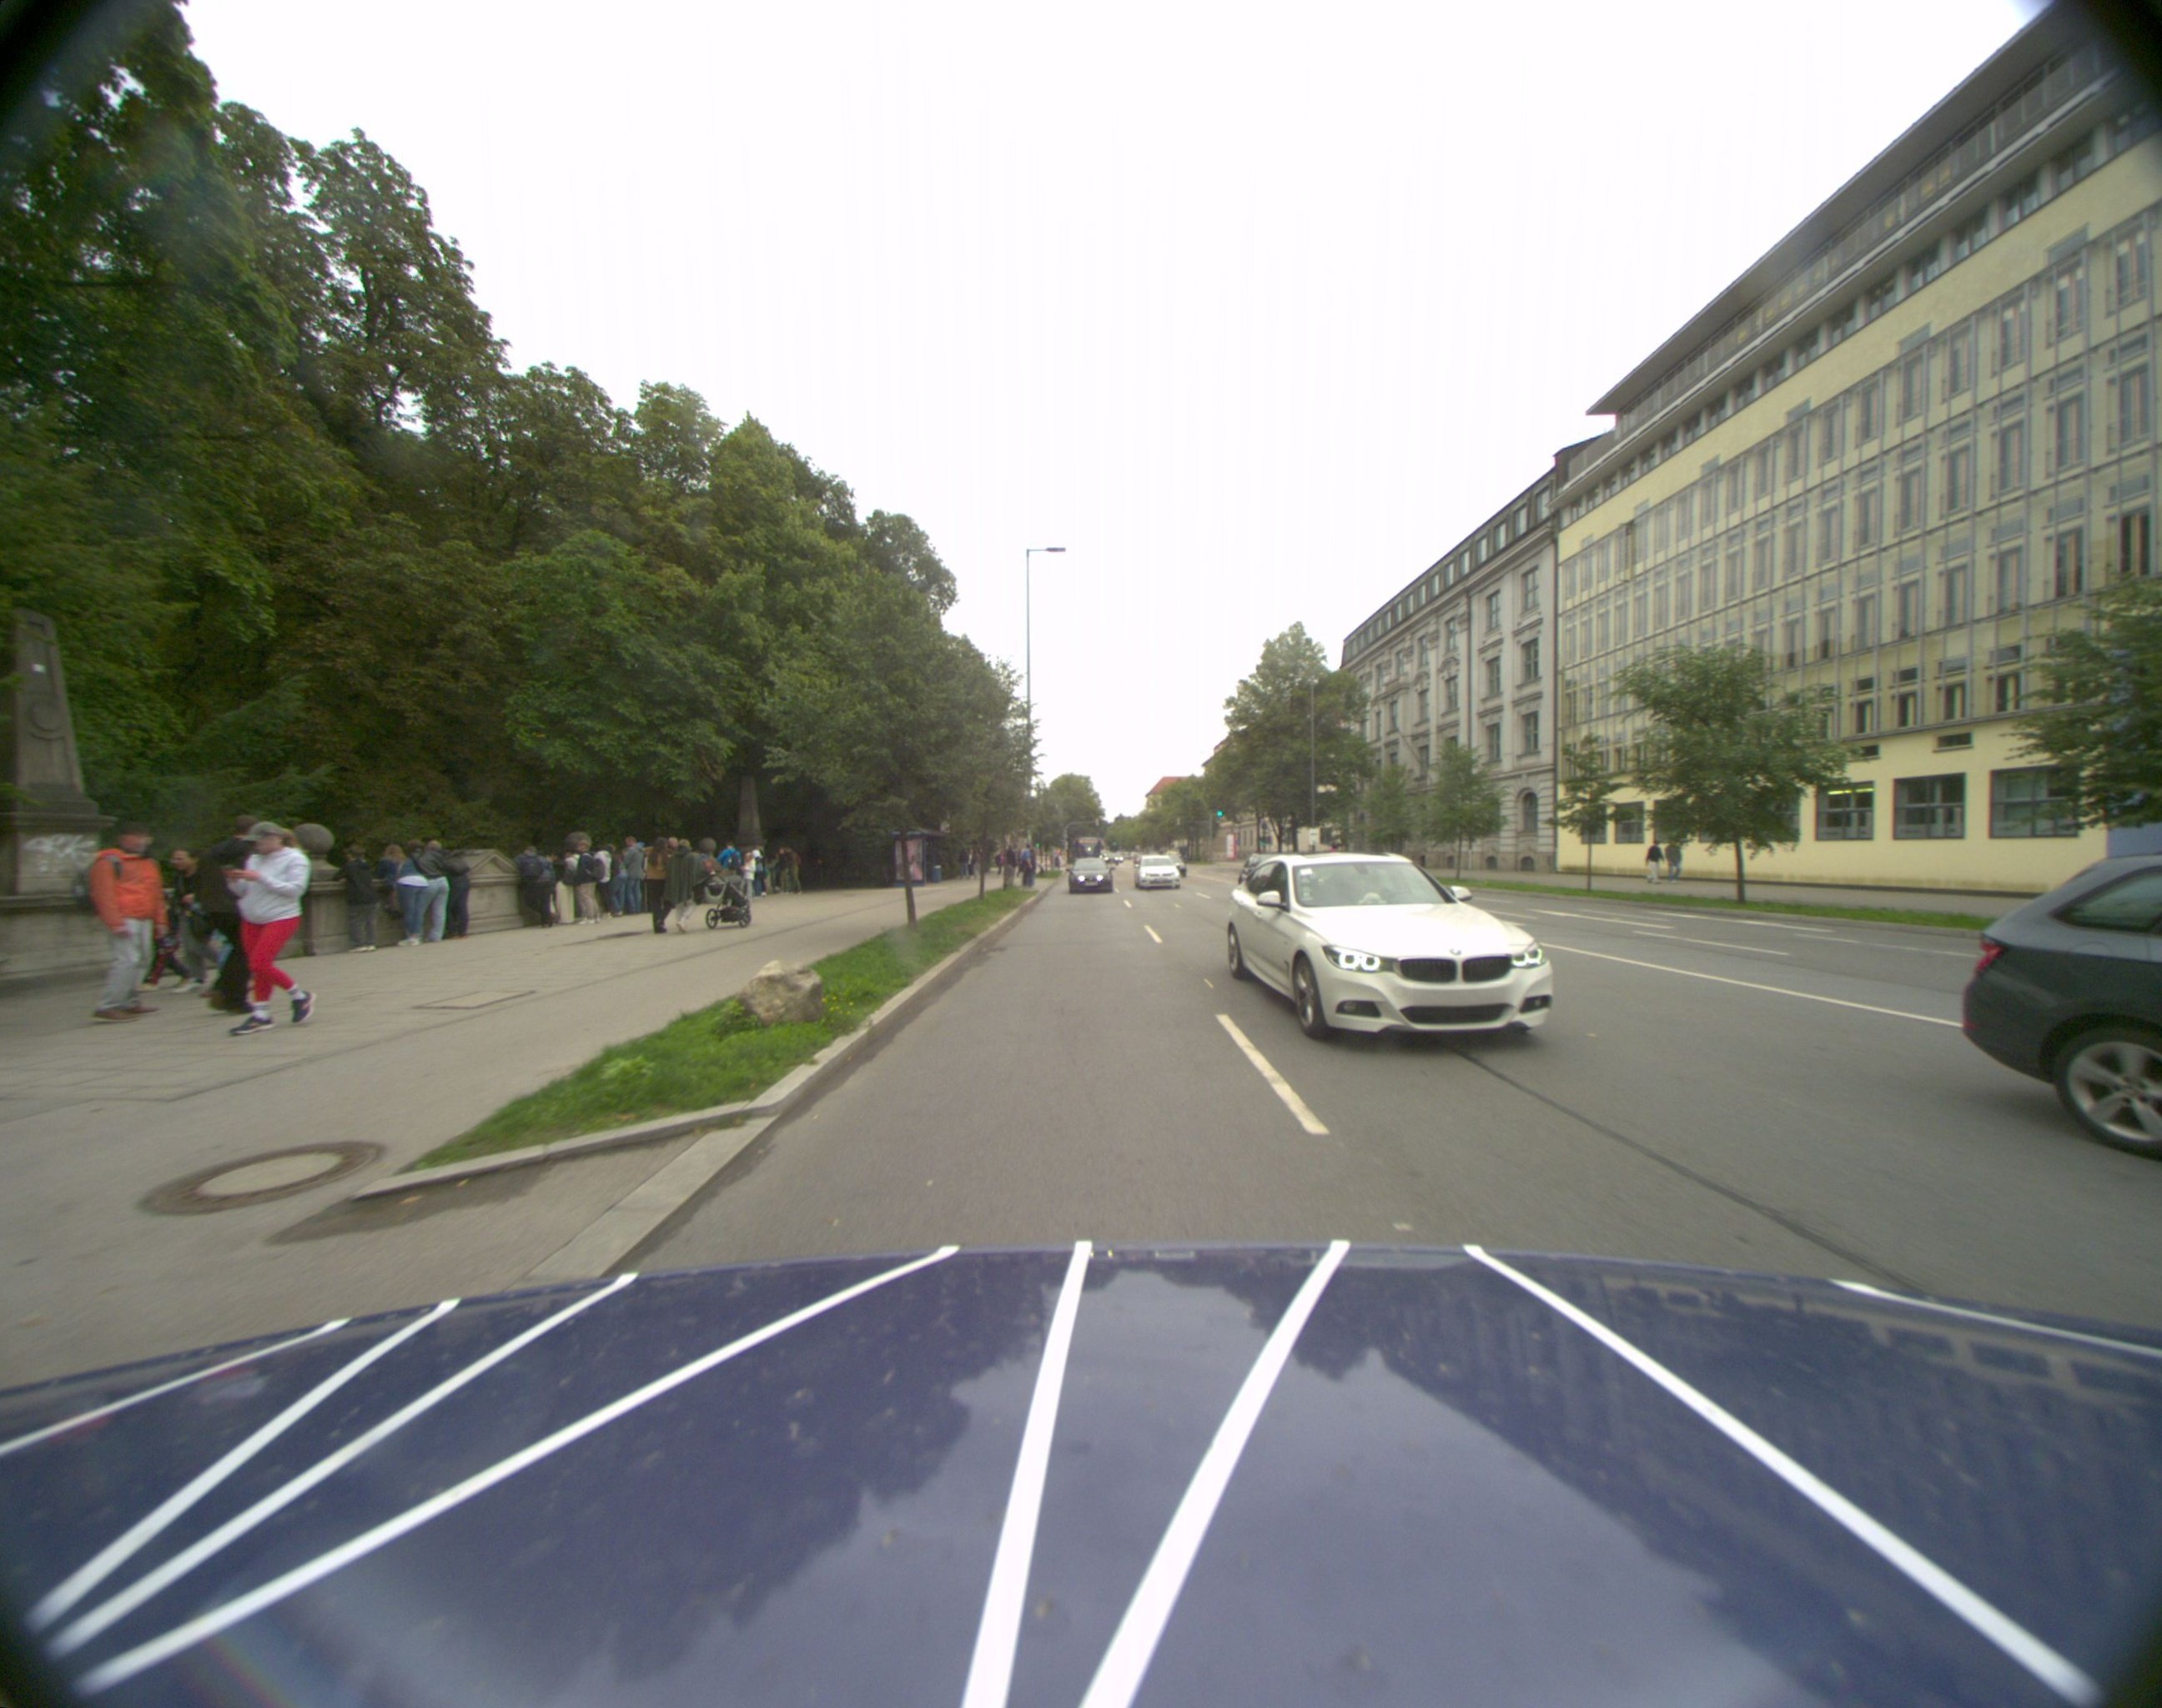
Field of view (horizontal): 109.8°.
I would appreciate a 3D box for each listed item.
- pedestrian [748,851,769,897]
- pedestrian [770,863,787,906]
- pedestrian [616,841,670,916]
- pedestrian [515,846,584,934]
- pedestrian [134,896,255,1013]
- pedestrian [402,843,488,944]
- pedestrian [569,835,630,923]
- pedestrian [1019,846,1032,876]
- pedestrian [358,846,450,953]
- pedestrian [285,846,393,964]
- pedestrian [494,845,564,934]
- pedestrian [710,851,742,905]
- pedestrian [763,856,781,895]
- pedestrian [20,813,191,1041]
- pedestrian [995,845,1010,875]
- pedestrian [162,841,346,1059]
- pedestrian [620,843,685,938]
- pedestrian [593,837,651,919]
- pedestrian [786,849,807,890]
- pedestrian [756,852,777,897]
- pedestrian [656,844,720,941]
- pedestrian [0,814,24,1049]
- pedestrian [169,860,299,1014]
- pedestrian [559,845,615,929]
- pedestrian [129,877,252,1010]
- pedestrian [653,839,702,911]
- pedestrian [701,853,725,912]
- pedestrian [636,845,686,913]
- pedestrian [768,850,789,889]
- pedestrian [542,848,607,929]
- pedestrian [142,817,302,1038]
[{"bbox_3d":[-10.589,0.648,24.958,0.421,1.499,0.442,-2,1,3],"label":"pedestrian"},{"bbox_3d":[-12.081,1.219,30.378,0.421,1.694,0.442,-2,1,3],"label":"pedestrian"},{"bbox_3d":[-10.714,0.583,18.612,0.814,1.780,0.729,-2,1,3],"label":"pedestrian"},{"bbox_3d":[-10.901,0.723,15.606,0.814,1.729,0.729,-2,1,3],"label":"pedestrian"},{"bbox_3d":[-9.374,1.045,8.056,0.459,1.146,0.648,-2,1,6],"label":"pedestrian"},{"bbox_3d":[-10.908,0.655,13.046,0.814,1.681,0.729,-1,1,3],"label":"pedestrian"},{"bbox_3d":[-10.819,0.545,17.082,0.814,1.906,0.729,-2,1,3],"label":"pedestrian"},{"bbox_3d":[-3.349,0.411,46.096,0.672,1.828,0.641,-2,1,2],"label":"pedestrian"},{"bbox_3d":[-10.903,0.708,12.256,0.814,1.681,0.729,1,1,3],"label":"pedestrian"},{"bbox_3d":[-10.986,0.730,11.273,0.814,1.681,0.729,-2,1,3],"label":"pedestrian"},{"bbox_3d":[-10.742,0.673,14.802,0.814,1.681,0.729,1,1,3],"label":"pedestrian"},{"bbox_3d":[-10.919,0.732,23.372,0.637,1.607,0.533,-2,1,3],"label":"pedestrian"},{"bbox_3d":[-12.144,0.847,29.864,0.421,1.499,0.442,-2,1,3],"label":"pedestrian"},{"bbox_3d":[-8.647,0.615,6.757,0.610,1.903,0.694,-1,1,17],"label":"pedestrian"},{"bbox_3d":[-4.741,0.359,46.046,0.753,1.828,0.756,-2,1,2],"label":"pedestrian"},{"bbox_3d":[-6.698,0.744,6.187,0.728,1.681,0.648,-2,1,6],"label":"pedestrian"},{"bbox_3d":[-7.799,0.655,13.861,0.728,1.681,0.648,-2,1,6],"label":"pedestrian"},{"bbox_3d":[-10.775,0.554,17.855,0.814,1.864,0.729,-2,1,3],"label":"pedestrian"},{"bbox_3d":[-12.674,0.686,33.791,0.636,1.758,0.534,-1,1,32],"label":"pedestrian"},{"bbox_3d":[-10.518,0.683,25.427,0.421,1.499,0.442,-2,1,3],"label":"pedestrian"},{"bbox_3d":[-7.065,0.676,13.674,0.728,1.681,0.648,-2,1,6],"label":"pedestrian"},{"bbox_3d":[-8.979,0.629,5.888,0.610,1.862,0.694,-1,1,17],"label":"pedestrian"},{"bbox_3d":[-8.833,0.841,7.947,0.550,1.519,0.648,-2,1,6],"label":"pedestrian"},{"bbox_3d":[-10.190,0.672,15.689,0.593,1.681,0.729,-2,1,3],"label":"pedestrian"},{"bbox_3d":[-9.377,0.923,8.022,0.459,1.319,0.648,-2,1,6],"label":"pedestrian"},{"bbox_3d":[-10.642,0.552,20.058,0.814,1.841,0.729,-2,1,3],"label":"pedestrian"},{"bbox_3d":[-10.873,0.829,22.439,0.421,1.694,0.442,-2,1,1],"label":"pedestrian"},{"bbox_3d":[-10.674,0.615,19.337,0.814,1.681,0.673,-2,1,3],"label":"pedestrian"},{"bbox_3d":[-14.014,0.714,35.188,0.636,1.758,0.534,-1,1,32],"label":"pedestrian"},{"bbox_3d":[-10.875,0.730,16.334,0.814,1.681,0.729,-2,1,3],"label":"pedestrian"},{"bbox_3d":[-7.681,0.622,6.817,0.610,1.862,0.694,-1,1,17],"label":"pedestrian"}]
